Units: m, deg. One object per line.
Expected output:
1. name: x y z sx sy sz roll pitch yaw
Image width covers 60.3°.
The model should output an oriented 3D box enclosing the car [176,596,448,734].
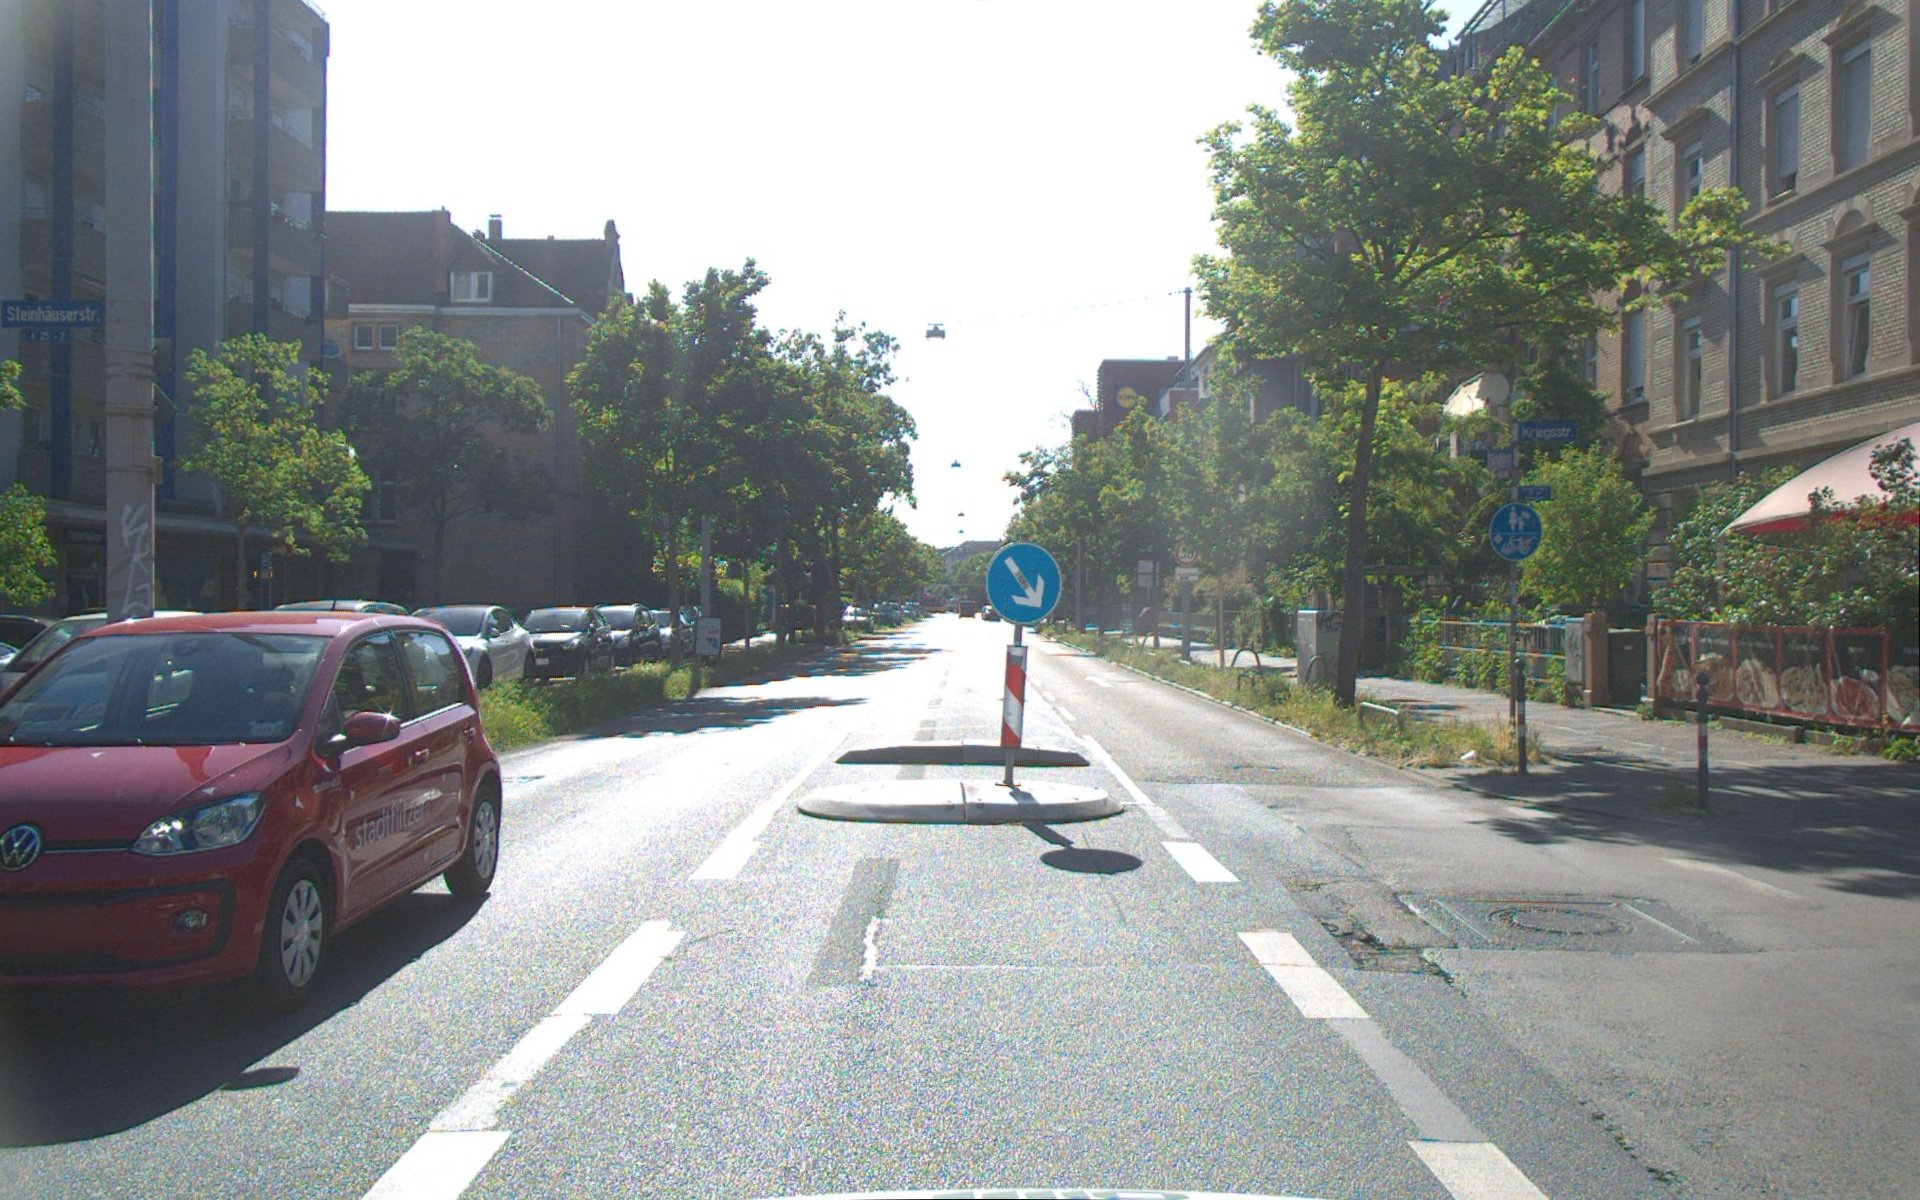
1. car: -8.606 0.794 22.431 1.829 1.656 4.505 -1 0 1

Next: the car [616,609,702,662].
1. car: -8.523 0.982 47.098 1.718 1.422 4.000 0 0 0

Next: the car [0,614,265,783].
1. car: -8.867 0.951 17.427 1.685 1.545 3.530 -1 0 -2

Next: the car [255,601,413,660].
1. car: -18.016 0.867 47.711 3.908 1.658 1.686 0 0 -4

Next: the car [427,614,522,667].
1. car: -14.472 1.190 49.466 1.652 1.495 4.000 0 0 0

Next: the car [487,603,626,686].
1. car: -8.580 0.905 35.474 1.824 1.615 4.001 -1 0 2

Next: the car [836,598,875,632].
1. car: -6.433 0.897 101.927 1.952 2.049 4.206 -1 0 2

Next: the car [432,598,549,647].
1. car: -17.611 0.826 62.182 3.907 1.800 1.885 0 0 -3

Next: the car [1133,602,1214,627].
1. car: 10.847 0.726 84.172 3.904 1.244 1.803 0 0 1

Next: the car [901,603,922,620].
1. car: -5.070 1.227 173.716 1.952 1.725 4.001 -1 0 2

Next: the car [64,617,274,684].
1. car: -17.777 1.126 37.318 3.908 1.449 1.686 0 0 -4

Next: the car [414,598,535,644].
1. car: -17.635 0.759 60.177 3.908 1.658 1.686 0 0 -4

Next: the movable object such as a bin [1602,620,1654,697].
1. movable object such as a bin: 10.083 0.876 24.976 0.556 1.153 0.552 0 0 1

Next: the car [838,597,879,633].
1. car: -5.916 0.884 96.940 1.952 2.049 4.207 -1 0 2

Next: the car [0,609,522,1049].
1. car: -3.209 0.780 7.305 1.617 1.453 3.507 0 0 0

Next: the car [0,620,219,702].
1. car: -17.930 1.251 34.741 3.908 1.635 1.840 0 0 -4

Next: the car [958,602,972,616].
1. car: 0.708 1.136 211.344 1.722 1.815 4.000 0 0 1

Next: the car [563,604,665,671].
1. car: -8.638 0.909 41.570 1.715 1.580 4.000 -1 0 0

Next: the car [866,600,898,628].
1. car: -5.803 1.035 123.832 2.018 2.049 4.630 -1 0 2

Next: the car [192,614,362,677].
1. car: -18.535 1.223 45.010 3.908 1.658 1.686 0 0 -4

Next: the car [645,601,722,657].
1. car: -8.609 0.872 51.809 1.726 1.675 4.000 0 0 0

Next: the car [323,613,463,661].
1. car: -17.976 1.154 52.574 3.908 1.495 1.607 0 0 -4

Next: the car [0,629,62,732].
1. car: -14.423 1.148 22.458 1.851 1.422 4.531 -1 0 2

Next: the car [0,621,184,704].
1. car: -17.699 1.212 32.638 3.908 1.578 1.768 0 0 -4

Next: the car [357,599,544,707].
1. car: -8.811 0.860 29.029 1.850 1.691 4.530 -2 0 0

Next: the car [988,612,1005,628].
1. car: 3.999 2.164 181.621 1.911 1.738 4.000 0 0 1
